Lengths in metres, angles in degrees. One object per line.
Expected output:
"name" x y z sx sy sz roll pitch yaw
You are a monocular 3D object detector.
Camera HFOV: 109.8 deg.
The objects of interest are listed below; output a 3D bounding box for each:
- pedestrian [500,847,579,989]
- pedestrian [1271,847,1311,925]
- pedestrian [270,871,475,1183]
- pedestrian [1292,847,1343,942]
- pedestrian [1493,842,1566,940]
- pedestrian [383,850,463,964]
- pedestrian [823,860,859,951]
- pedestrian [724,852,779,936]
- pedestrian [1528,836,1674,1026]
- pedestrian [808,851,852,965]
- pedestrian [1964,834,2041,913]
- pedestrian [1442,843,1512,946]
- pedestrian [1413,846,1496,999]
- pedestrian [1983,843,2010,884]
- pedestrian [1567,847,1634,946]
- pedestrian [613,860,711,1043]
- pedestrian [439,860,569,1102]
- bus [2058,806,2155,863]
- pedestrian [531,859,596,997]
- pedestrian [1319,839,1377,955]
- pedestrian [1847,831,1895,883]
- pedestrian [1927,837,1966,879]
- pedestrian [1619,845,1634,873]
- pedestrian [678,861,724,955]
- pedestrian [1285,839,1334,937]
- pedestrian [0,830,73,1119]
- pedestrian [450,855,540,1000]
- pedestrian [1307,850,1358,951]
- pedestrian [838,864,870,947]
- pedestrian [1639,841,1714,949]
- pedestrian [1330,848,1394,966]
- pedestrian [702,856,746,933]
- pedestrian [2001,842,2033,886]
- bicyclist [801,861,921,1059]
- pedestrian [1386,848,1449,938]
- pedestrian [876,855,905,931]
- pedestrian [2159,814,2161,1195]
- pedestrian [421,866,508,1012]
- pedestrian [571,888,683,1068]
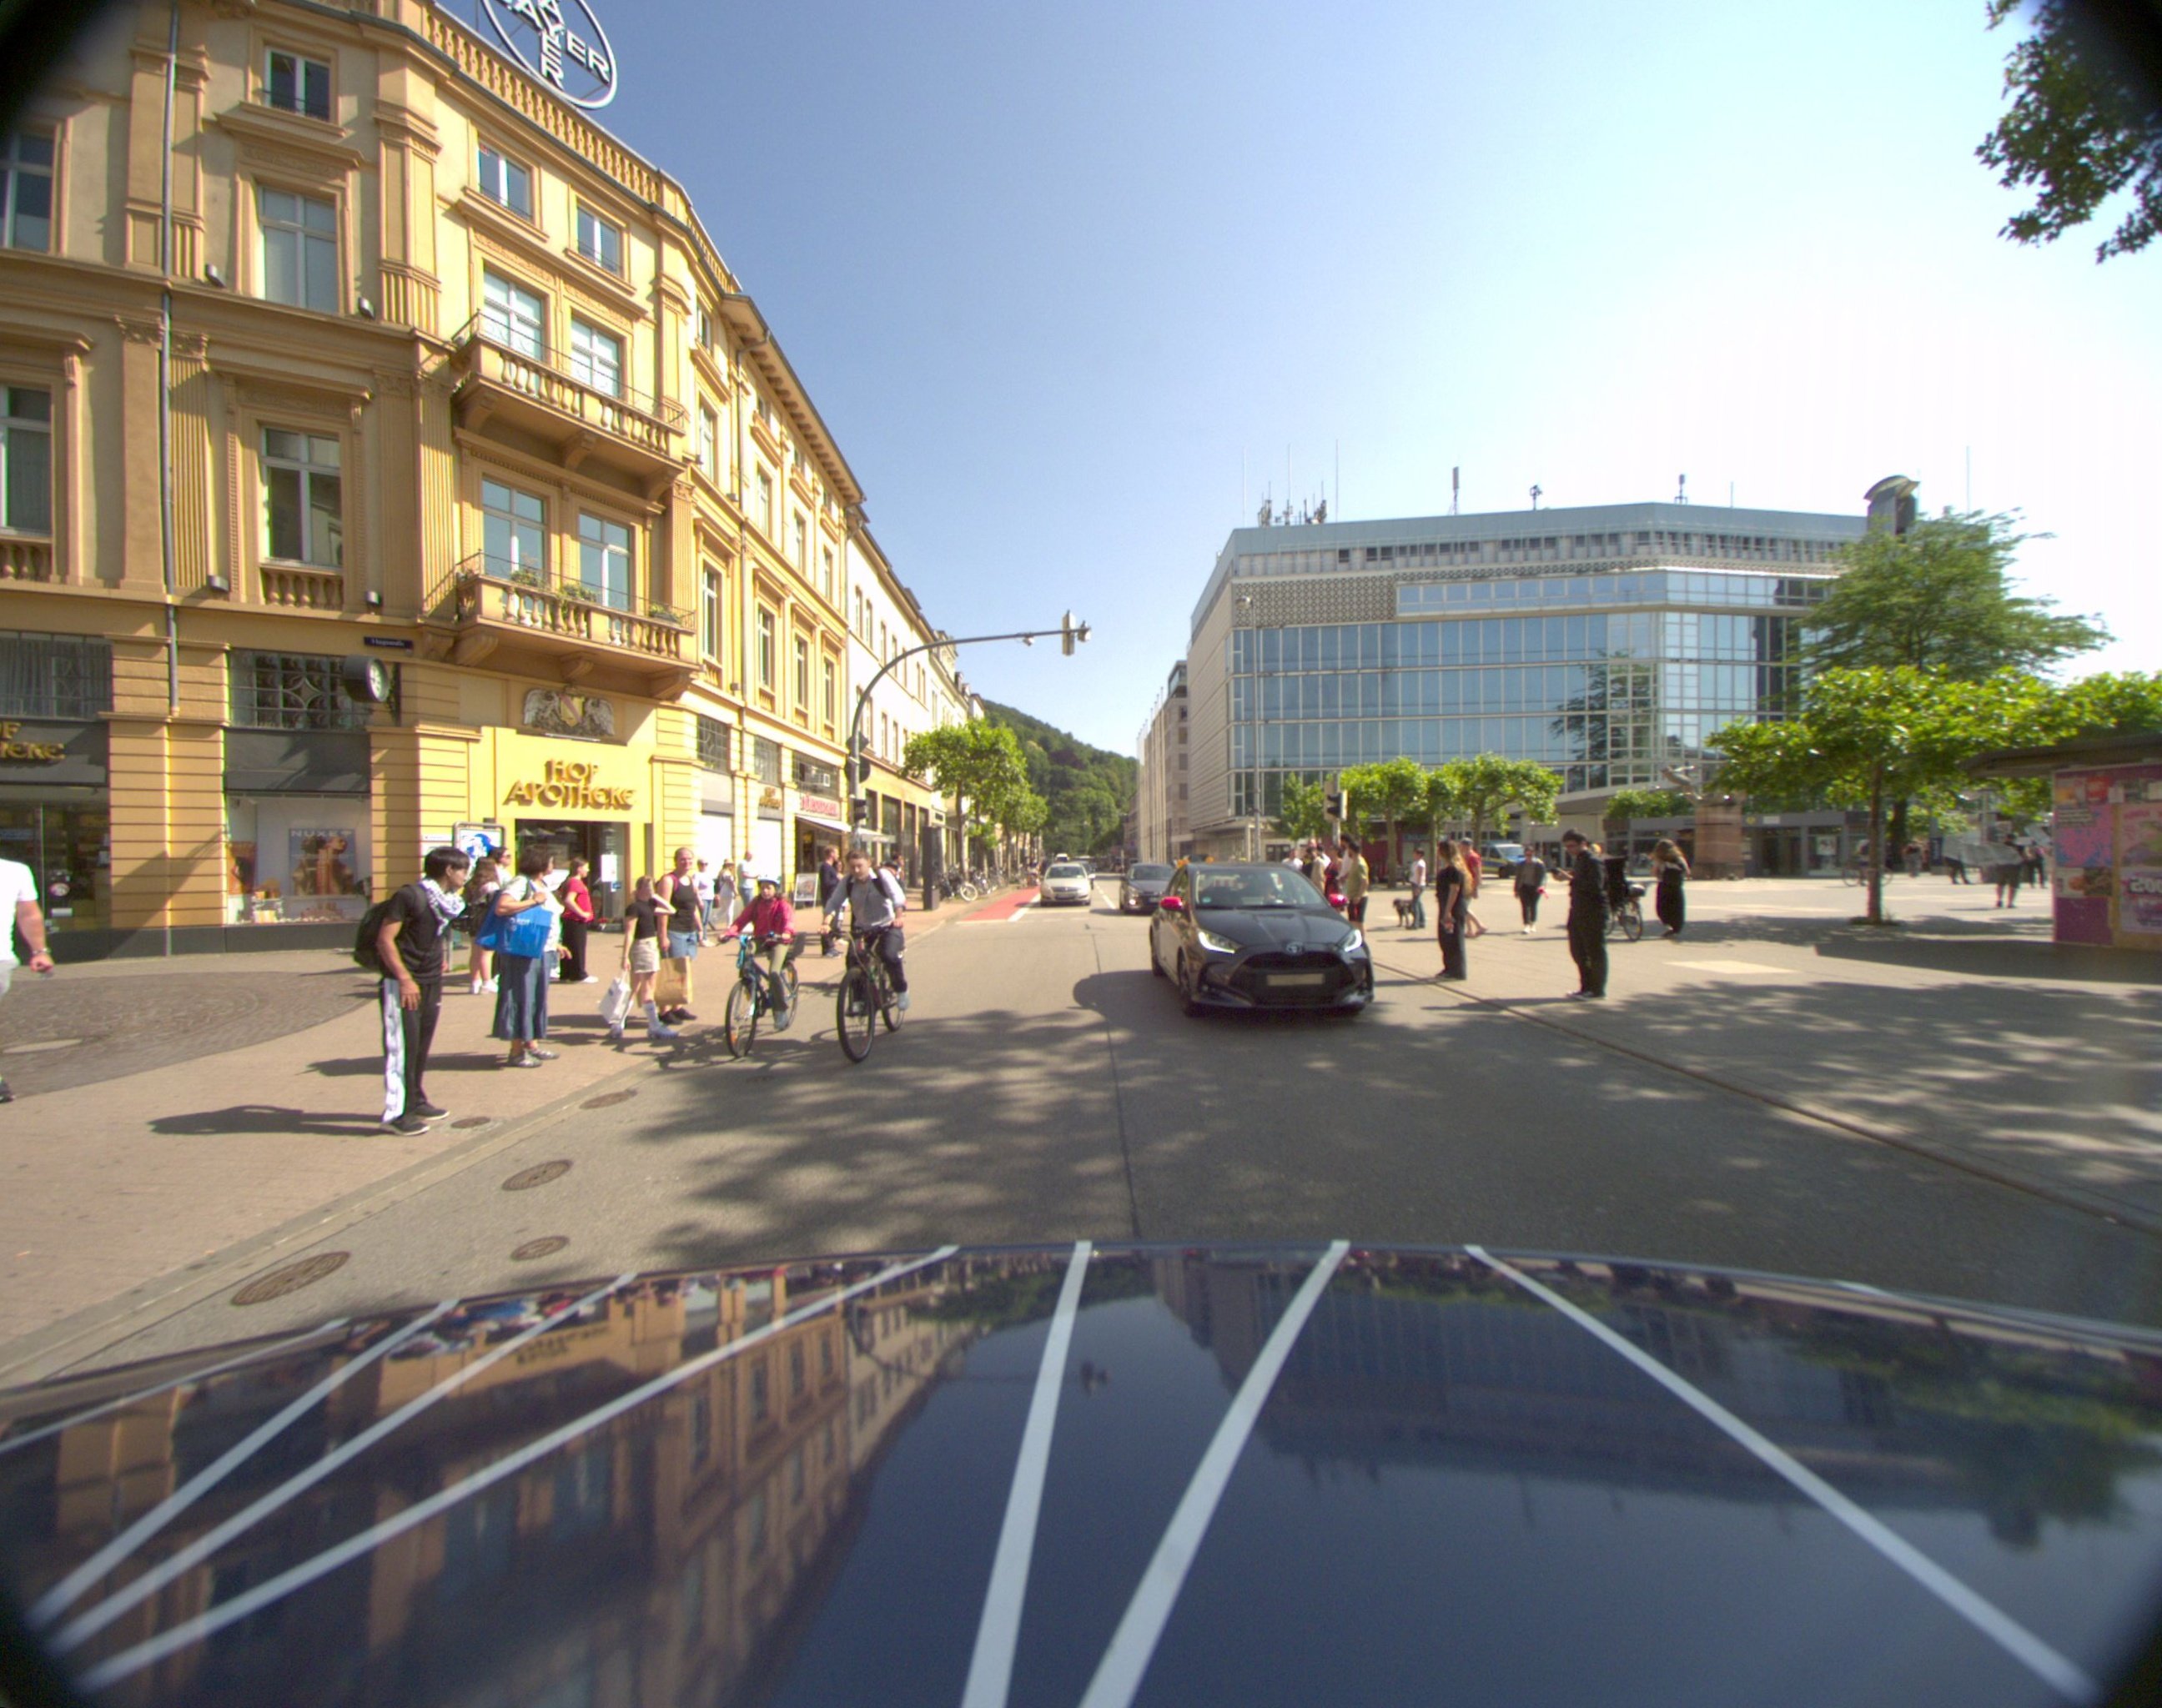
"pedestrian" -7.101 0.817 9.981 0.578 1.804 0.605 1 1 0
"pedestrian" 4.840 0.731 17.529 0.731 1.737 0.640 -2 1 24
"pedestrian" -4.190 0.960 4.563 0.579 1.674 0.726 4 -2 -23
"pedestrian" 4.473 0.751 14.401 0.639 1.737 0.733 -3 1 -2
"pedestrian" 8.373 0.665 14.211 0.722 1.737 0.884 -3 1 -10
"pedestrian" -10.787 0.842 12.481 0.749 1.794 0.733 -1 0 -21
"pedestrian" -4.576 0.964 14.521 0.578 1.674 0.676 1 0 -12
"pedestrian" -7.168 0.853 16.572 0.757 1.782 0.860 -1 0 4
"pedestrian" 5.081 0.716 7.475 0.876 1.737 0.733 -3 1 -2
"pedestrian" -4.216 0.894 12.785 0.578 1.863 0.680 2 0 -12
"pedestrian" 21.323 0.439 17.592 0.876 1.737 0.733 -3 1 -2
"pedestrian" 6.986 0.695 13.440 0.751 1.737 0.732 -3 1 -11
"pedestrian" 4.375 0.772 8.932 0.575 1.704 0.652 -3 1 -2
"pedestrian" 33.193 0.338 27.539 0.464 1.464 0.410 -3 1 -3
"pedestrian" 9.042 0.718 13.242 0.732 1.660 0.640 -2 1 13
"pedestrian" -4.134 0.933 7.545 0.578 1.719 0.718 1 -1 -8
"pedestrian" -4.414 0.921 5.857 0.606 1.725 0.647 2 0 -23
"bus" 57.689 -1.178 42.617 12.202 2.774 2.384 -3 1 -33
"pedestrian" -6.510 0.913 9.571 0.444 1.679 0.478 -1 1 0
"pedestrian" 4.567 0.714 13.027 0.639 1.903 0.733 -3 1 -2
"pedestrian" 27.241 0.107 26.213 0.876 1.737 0.733 -3 1 -2
"pedestrian" 31.556 0.136 27.715 0.757 1.464 0.555 -3 1 -3
"pedestrian" 28.698 0.254 39.993 0.464 1.464 0.401 -3 1 -17
"pedestrian" -6.880 0.964 13.773 0.578 1.650 0.621 -1 0 -12
"pedestrian" 4.602 0.667 15.341 0.639 1.909 0.860 -3 1 -2
"pedestrian" -7.249 0.781 4.826 0.621 1.835 0.856 -2 1 28
"pedestrian" -7.186 0.876 9.341 0.578 1.716 0.622 -1 1 0
"pedestrian" 4.506 0.812 13.632 0.639 1.737 0.605 -3 1 -2
"pedestrian" -4.495 1.003 15.060 0.531 1.586 0.588 1 1 -12
"pedestrian" 9.901 0.671 12.656 0.732 1.737 0.640 -2 1 13
"pedestrian" 4.343 0.795 11.791 0.639 1.737 0.733 -3 1 -2
"pedestrian" -7.906 0.881 16.853 0.686 1.675 0.579 -1 1 34
"pedestrian" 30.208 0.326 24.529 0.464 1.375 0.437 -3 1 -2
"bicyclist" -1.865 0.864 6.560 0.750 1.567 0.778 -3 1 -2
"pedestrian" 6.751 0.760 15.274 0.876 1.737 0.733 -3 1 -2
"pedestrian" -4.554 0.927 18.189 0.651 1.770 0.621 0 2 -15
"pedestrian" 5.217 0.679 3.085 0.612 1.737 0.752 -2 1 -2
"pedestrian" -6.991 0.940 8.632 0.513 1.594 0.534 0 1 0
"pedestrian" -4.041 1.073 6.804 0.673 1.488 0.637 2 0 -15
